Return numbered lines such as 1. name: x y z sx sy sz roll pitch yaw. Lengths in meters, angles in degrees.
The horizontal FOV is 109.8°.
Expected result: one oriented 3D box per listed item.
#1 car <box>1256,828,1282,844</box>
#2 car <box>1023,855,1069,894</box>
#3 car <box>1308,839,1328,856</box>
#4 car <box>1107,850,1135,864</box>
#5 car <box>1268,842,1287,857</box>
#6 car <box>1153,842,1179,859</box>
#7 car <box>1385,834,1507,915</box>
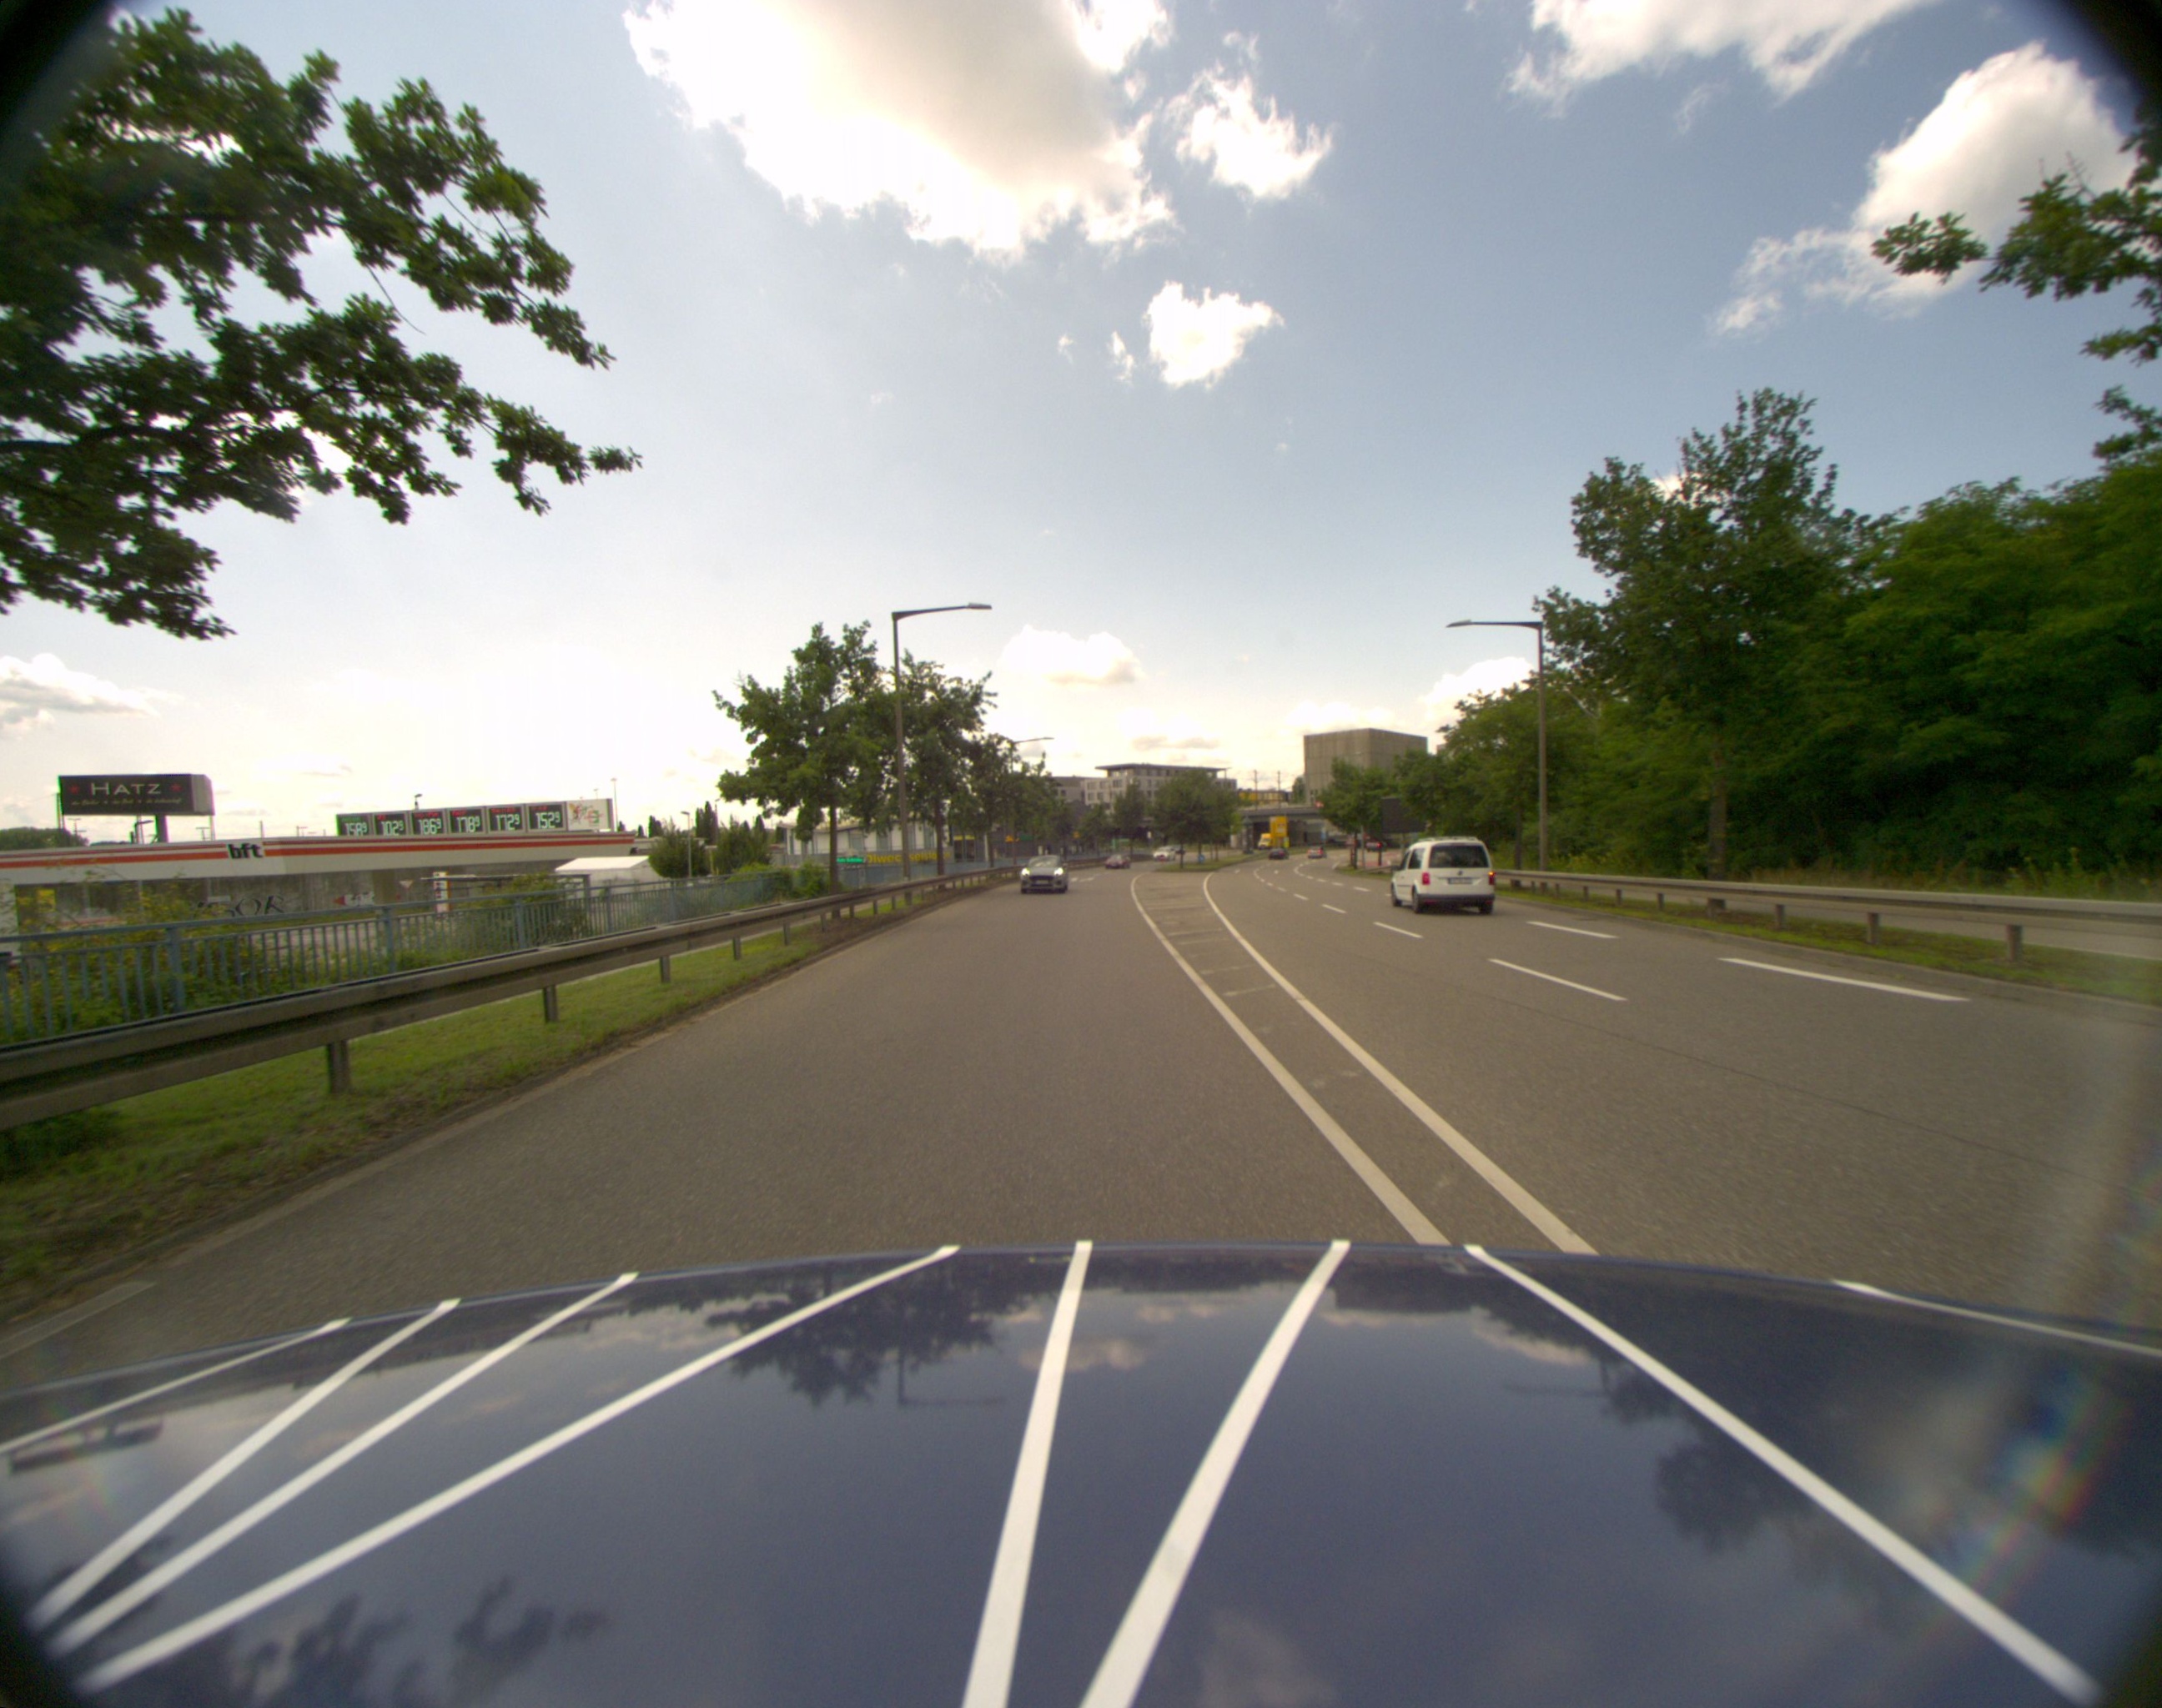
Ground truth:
1. car: 32.014 -3.096 129.125 1.995 2.306 4.895 -3 1 45
2. car: -1.426 0.822 32.154 1.828 1.516 4.000 0 0 -1
3. car: 30.030 -0.854 96.263 1.975 2.002 4.006 1 2 24
4. car: 3.719 0.281 69.955 1.845 1.201 4.004 -1 1 14
5. car: 24.159 -0.593 93.361 1.975 1.825 4.005 1 2 20
6. car: 10.401 -0.449 92.318 1.995 2.002 4.006 1 2 24
7. car: 9.260 0.480 19.638 1.778 1.852 4.128 -1 0 10
